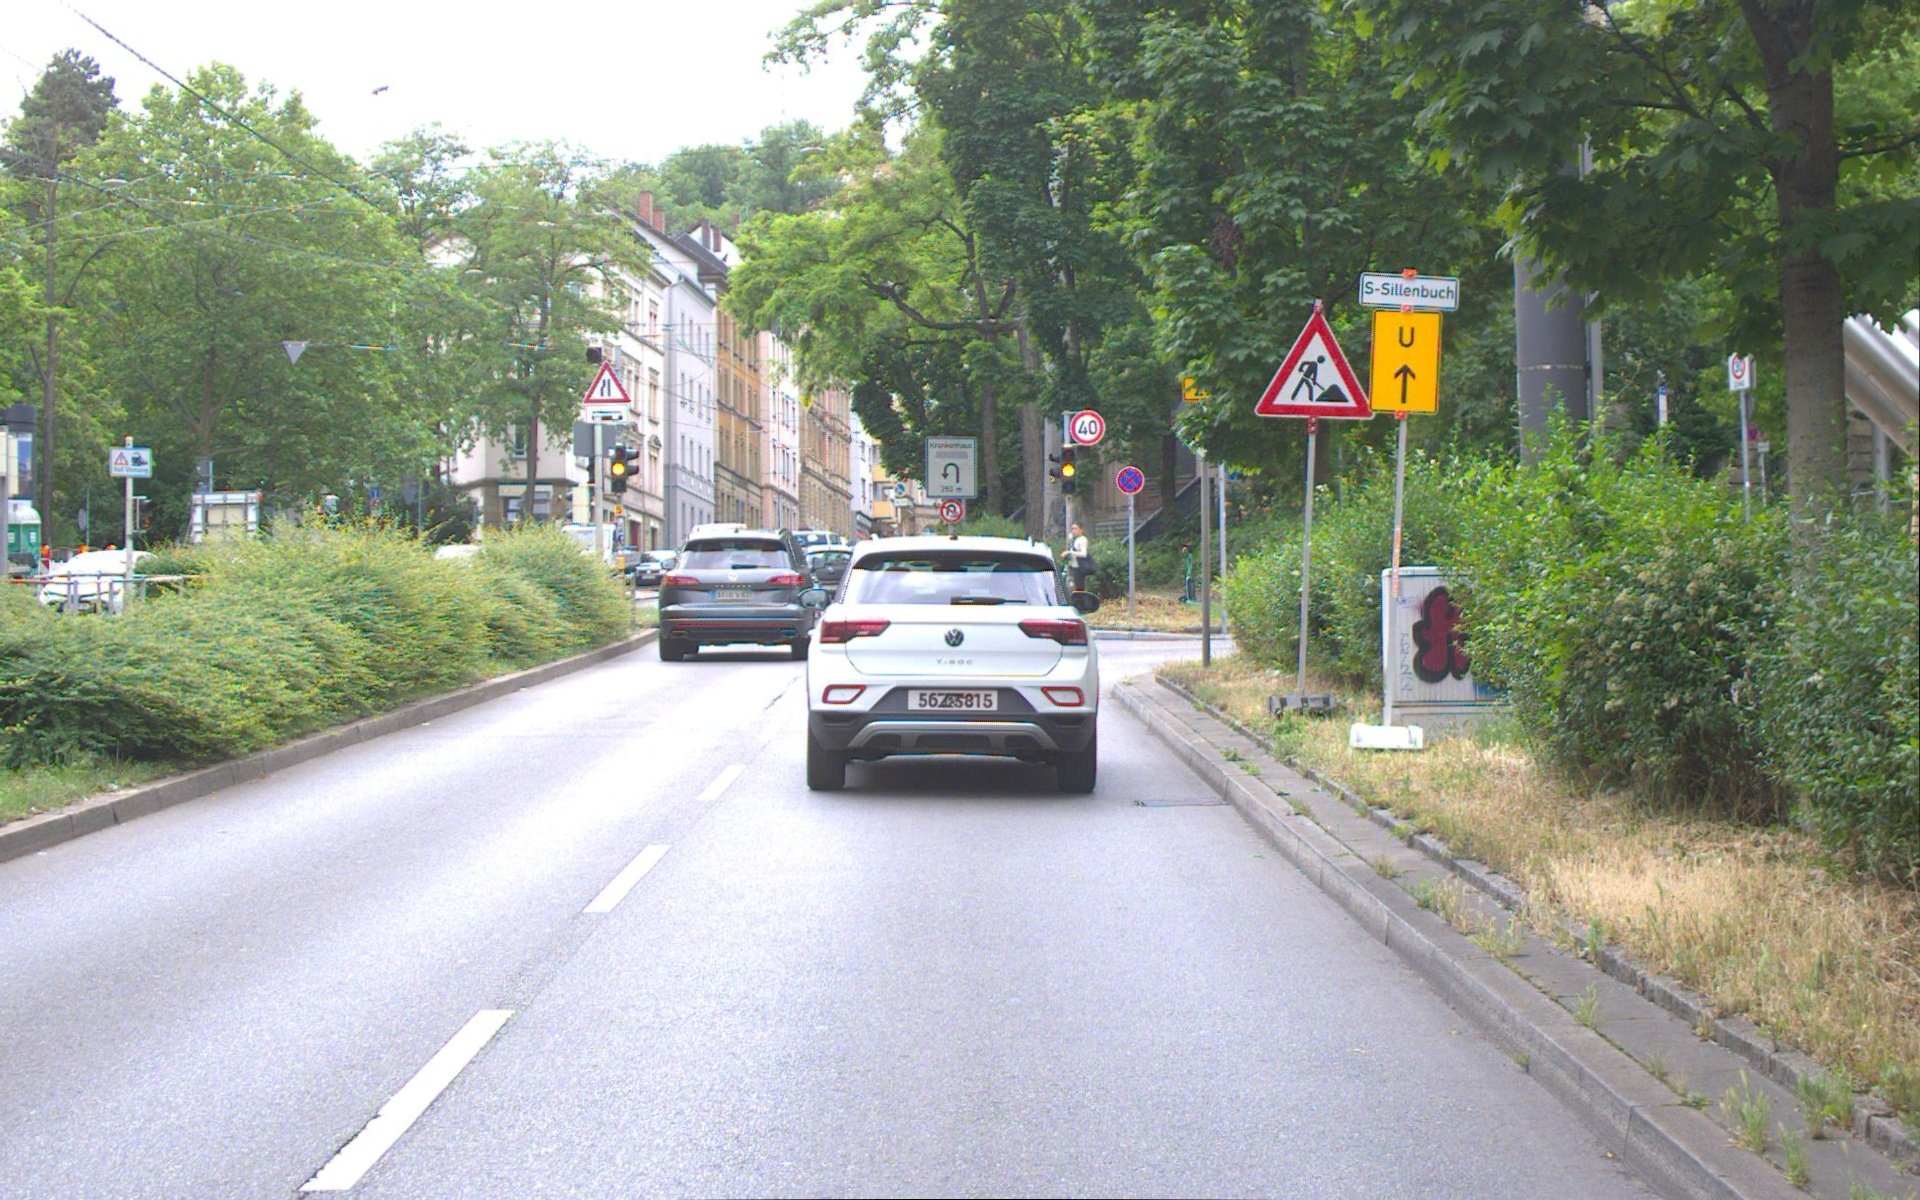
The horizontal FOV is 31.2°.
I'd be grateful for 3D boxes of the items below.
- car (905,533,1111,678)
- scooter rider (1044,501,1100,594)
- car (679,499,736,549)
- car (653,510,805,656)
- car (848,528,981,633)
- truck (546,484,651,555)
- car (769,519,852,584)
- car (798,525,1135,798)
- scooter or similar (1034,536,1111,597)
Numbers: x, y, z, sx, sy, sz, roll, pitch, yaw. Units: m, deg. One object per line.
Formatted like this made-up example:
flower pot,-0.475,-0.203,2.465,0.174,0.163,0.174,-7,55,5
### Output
car,0.516,0.109,40.891,1.902,1.569,3.835,2,-2,-7
scooter rider,1.895,-0.882,58.210,0.777,1.552,0.532,-2,1,-14
car,-10.518,-3.155,143.298,1.993,2.007,4.000,-1,1,0
car,-2.968,-0.177,44.479,1.839,1.734,4.000,1,-2,-3
car,-0.827,-0.312,60.073,1.993,1.618,4.000,-1,-2,-5
truck,-12.341,-2.792,117.712,2.422,2.162,6.033,2,3,5
car,-5.315,-1.772,123.105,2.422,2.162,6.033,3,1,2
car,-0.034,0.342,22.067,1.938,1.561,4.046,1,1,-2
scooter or similar,1.906,-0.565,58.216,1.187,0.991,0.531,-2,1,-14
